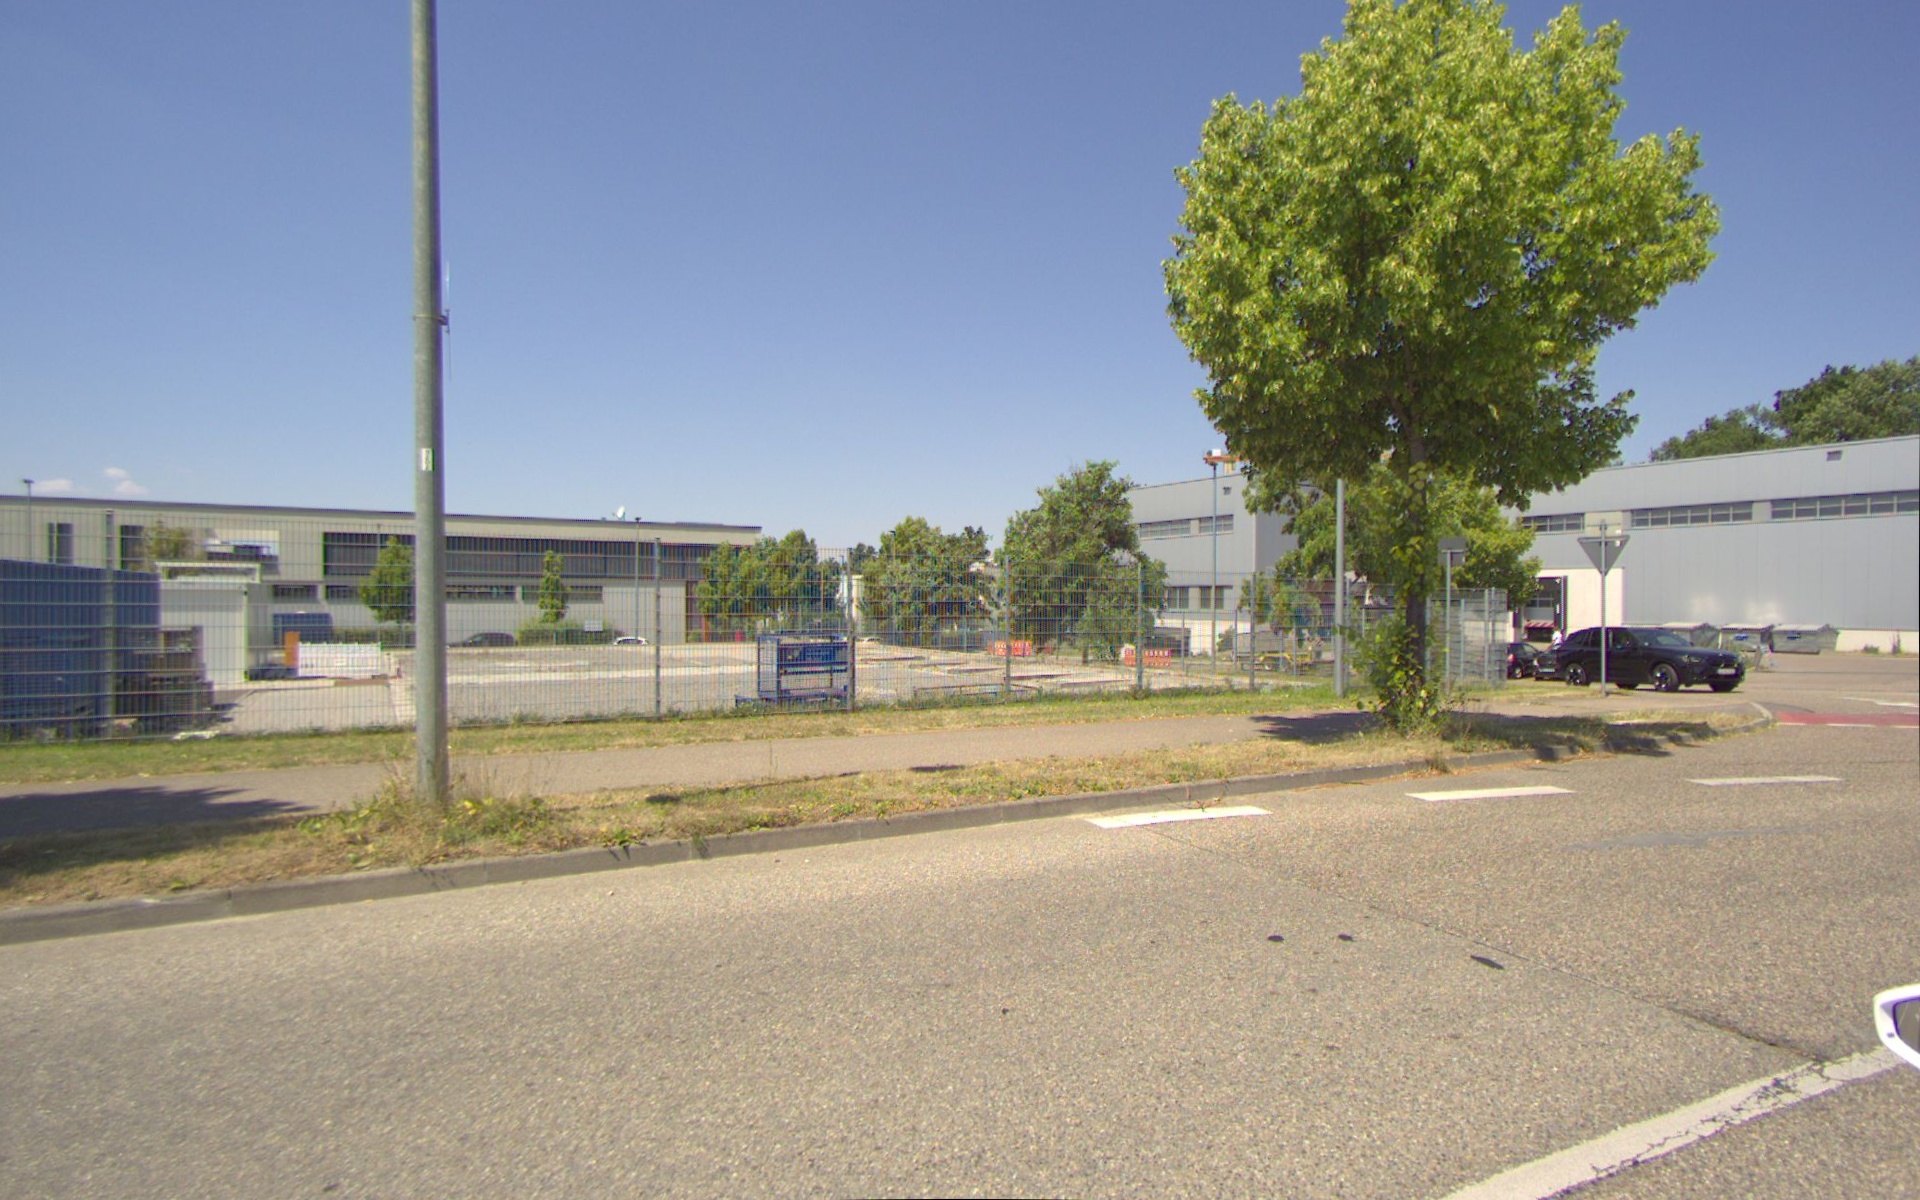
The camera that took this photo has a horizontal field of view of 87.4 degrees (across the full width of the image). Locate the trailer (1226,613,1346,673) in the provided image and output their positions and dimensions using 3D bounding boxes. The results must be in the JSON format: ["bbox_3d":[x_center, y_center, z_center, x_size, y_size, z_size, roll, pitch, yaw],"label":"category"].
[{"bbox_3d":[16.926,2.217,52.436,2.637,2.895,5.468,-1,-1,-34],"label":"trailer"}]

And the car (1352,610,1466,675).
[{"bbox_3d":[20.675,1.884,46.150,5.735,2.769,1.982,-1,0,-33],"label":"car"}]

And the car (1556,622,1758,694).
[{"bbox_3d":[18.079,1.469,26.366,1.835,1.656,4.596,2,-2,-5],"label":"car"}]

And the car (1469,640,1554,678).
[{"bbox_3d":[23.085,2.449,42.025,3.575,1.498,1.614,1,-2,-33],"label":"car"}]

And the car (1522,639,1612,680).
[{"bbox_3d":[24.095,2.334,39.850,3.742,1.527,1.576,1,-2,-33],"label":"car"}]
